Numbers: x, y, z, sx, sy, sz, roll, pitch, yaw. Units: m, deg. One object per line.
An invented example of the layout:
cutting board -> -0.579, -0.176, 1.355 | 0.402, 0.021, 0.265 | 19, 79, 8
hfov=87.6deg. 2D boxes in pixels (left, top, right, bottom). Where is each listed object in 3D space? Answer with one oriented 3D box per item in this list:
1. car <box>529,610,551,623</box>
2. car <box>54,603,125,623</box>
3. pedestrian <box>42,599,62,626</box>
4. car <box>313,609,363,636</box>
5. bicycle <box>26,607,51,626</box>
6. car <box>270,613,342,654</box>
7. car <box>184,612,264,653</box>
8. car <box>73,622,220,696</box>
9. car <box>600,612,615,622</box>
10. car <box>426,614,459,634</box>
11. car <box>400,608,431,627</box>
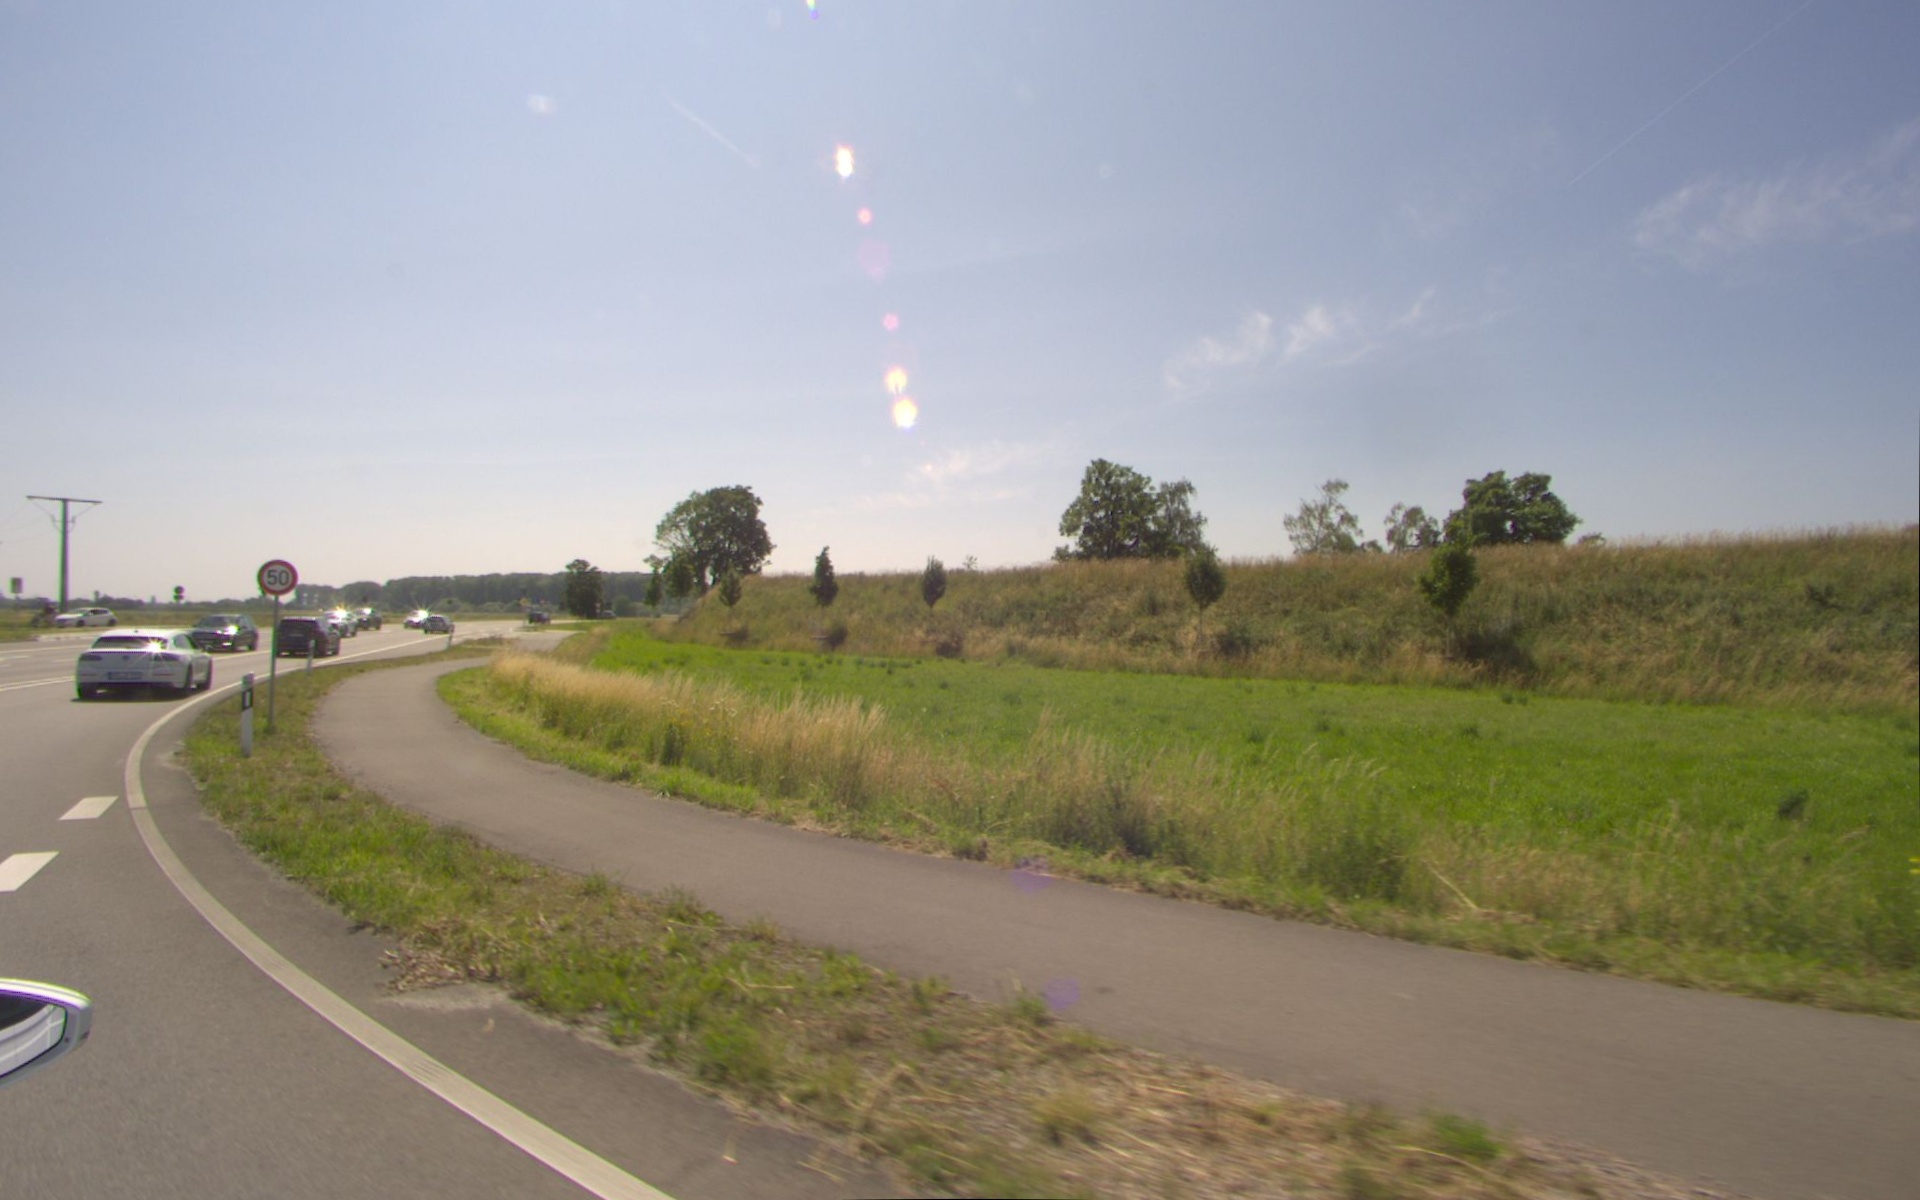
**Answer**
car -> -51.662, 2.071, 123.241 | 1.772, 1.495, 4.412 | 0, -2, -12
car -> -65.824, 1.022, 75.816 | 1.664, 1.349, 4.039 | 2, -2, 4
pedestrian -> -61.762, 0.864, 68.137 | 0.599, 1.808, 0.845 | 2, -2, -13
car -> -41.128, 1.504, 66.284 | 1.853, 1.671, 4.831 | 3, -2, -21
bicycle -> -62.200, 1.127, 67.599 | 0.483, 1.263, 1.509 | 2, -2, -13
car -> -27.984, 1.454, 42.978 | 1.910, 1.637, 4.365 | 0, -2, -24
car -> -32.424, 1.401, 44.223 | 1.842, 1.671, 4.313 | 2, -1, -23
car -> -17.878, 1.267, 22.231 | 1.828, 1.451, 4.584 | 3, -3, -31
car -> -58.161, 2.753, 165.137 | 1.772, 1.541, 3.880 | -2, -1, -11
car -> -41.512, 1.940, 80.348 | 1.774, 1.447, 4.085 | -1, -2, -19
car -> -48.866, 1.540, 89.898 | 1.708, 1.577, 4.403 | 0, 1, -18
